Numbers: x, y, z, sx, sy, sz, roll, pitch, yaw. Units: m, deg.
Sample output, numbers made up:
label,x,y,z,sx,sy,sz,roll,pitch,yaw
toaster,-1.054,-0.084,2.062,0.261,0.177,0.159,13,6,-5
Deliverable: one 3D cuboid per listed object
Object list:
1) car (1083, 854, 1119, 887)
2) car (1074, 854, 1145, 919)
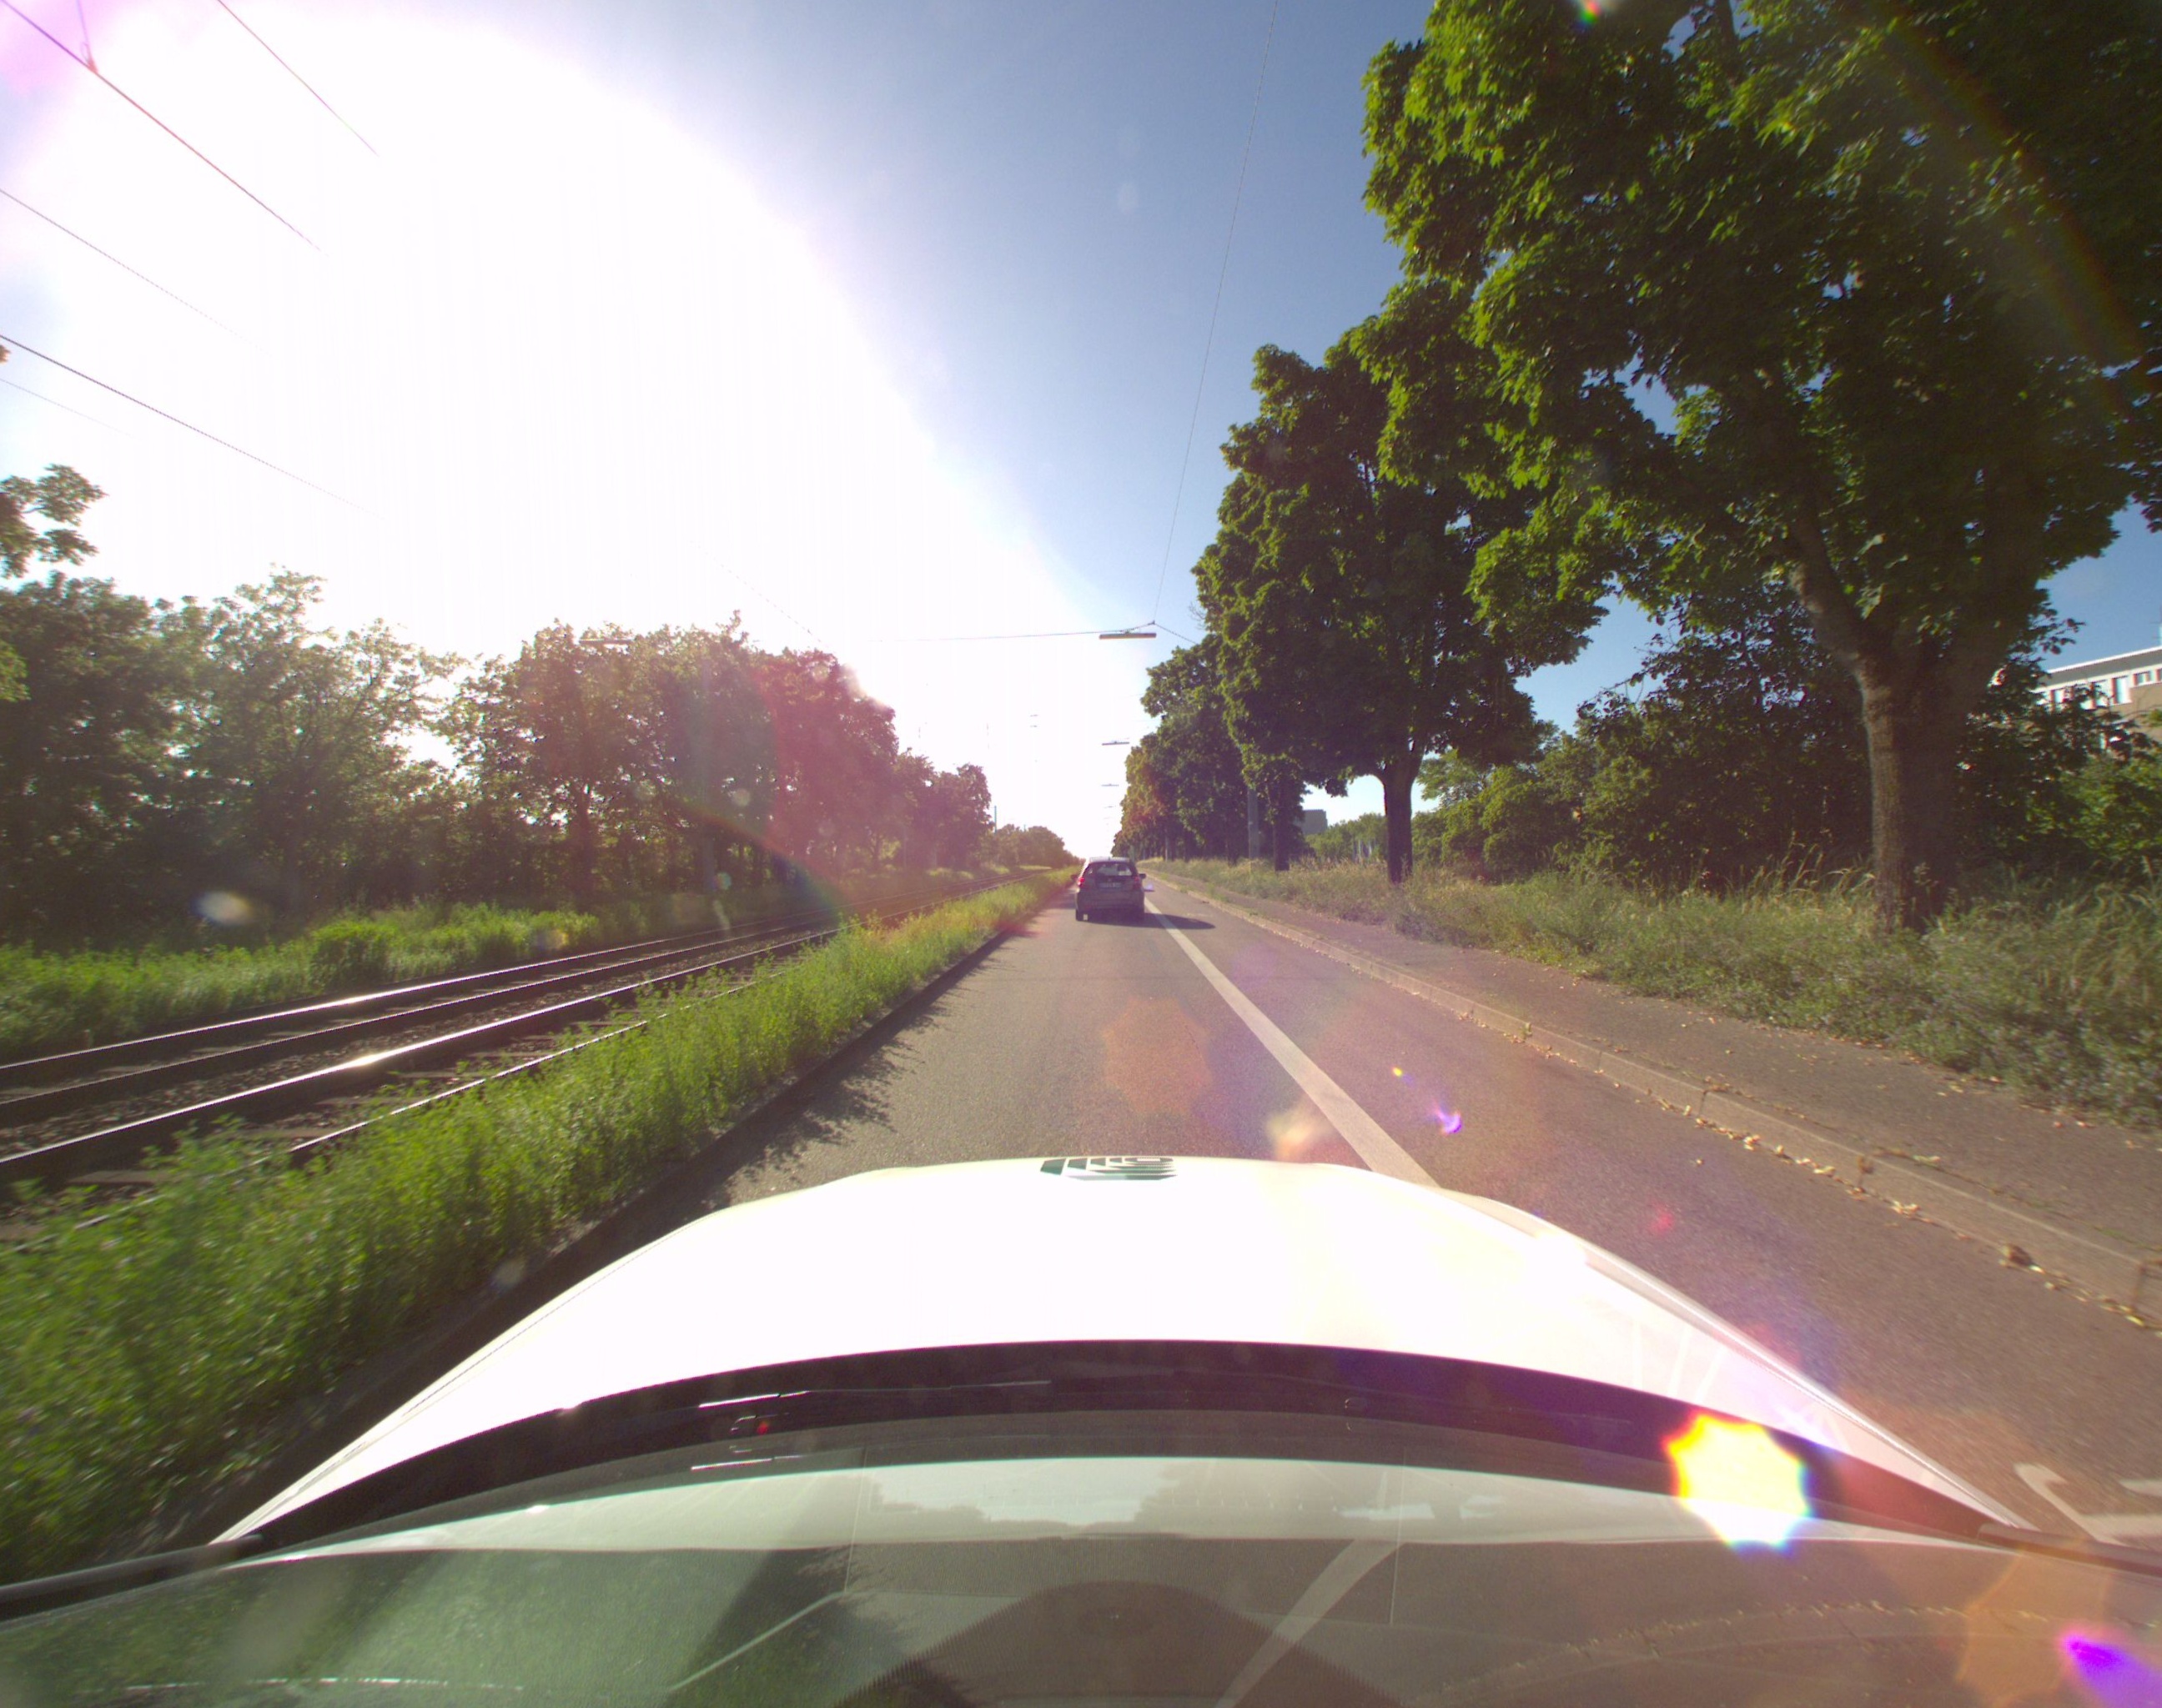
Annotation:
label,x,y,z,sx,sy,sz,roll,pitch,yaw
car,0.991,0.770,39.546,1.648,1.507,3.813,0,0,2
car,0.742,0.769,20.920,1.663,1.507,3.813,0,0,2
